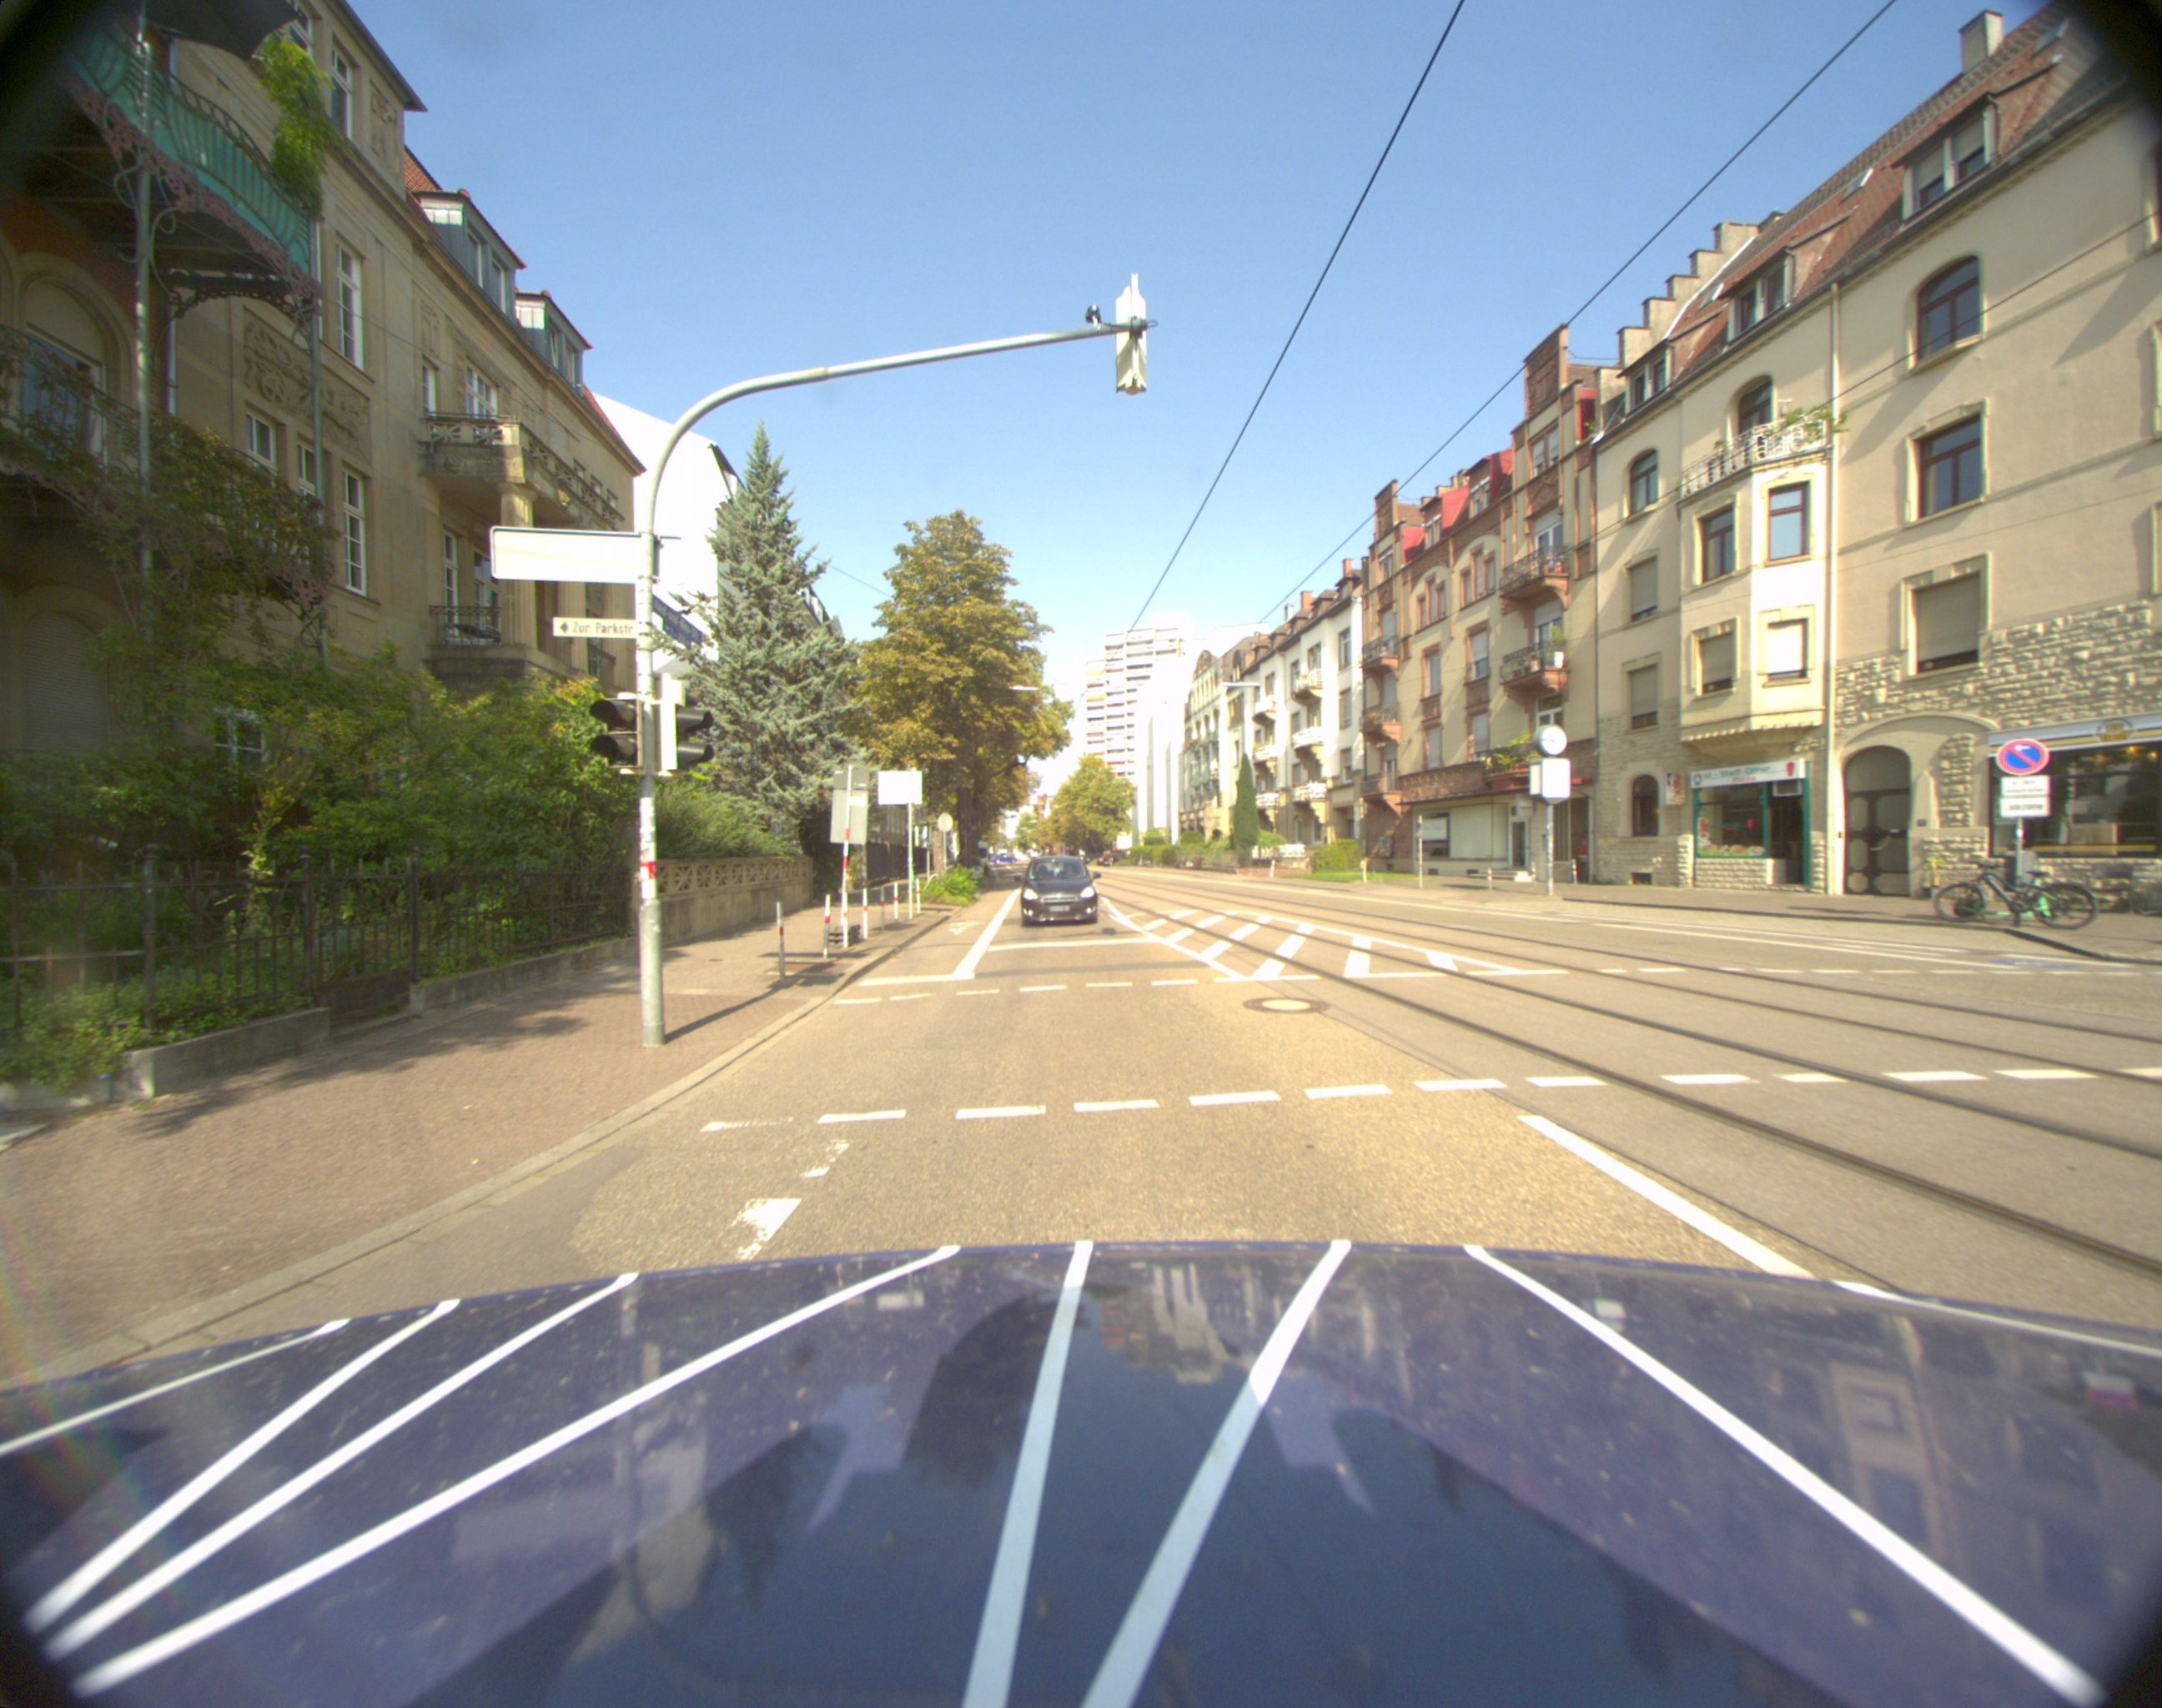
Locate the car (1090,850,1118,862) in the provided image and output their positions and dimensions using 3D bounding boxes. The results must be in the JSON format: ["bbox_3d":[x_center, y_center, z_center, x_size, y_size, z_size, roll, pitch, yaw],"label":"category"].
[{"bbox_3d":[3.115,0.311,101.274,1.767,1.518,4.008,0,0,35],"label":"car"}]

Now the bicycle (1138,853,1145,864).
[{"bbox_3d":[5.973,0.437,75.241,0.425,1.081,1.675,-1,0,-4],"label":"bicycle"}]

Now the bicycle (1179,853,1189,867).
[{"bbox_3d":[7.942,0.483,58.666,0.371,1.081,1.354,-1,0,-7],"label":"bicycle"}]

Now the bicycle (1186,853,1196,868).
[{"bbox_3d":[8.088,0.500,55.908,0.371,1.081,1.354,-1,0,-7],"label":"bicycle"}]

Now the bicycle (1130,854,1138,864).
[{"bbox_3d":[5.475,0.520,78.538,0.426,0.972,1.769,-1,0,-8],"label":"bicycle"}]

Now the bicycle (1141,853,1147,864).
[{"bbox_3d":[6.080,0.449,73.231,0.425,1.081,1.676,-1,0,2],"label":"bicycle"}]

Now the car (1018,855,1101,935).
[{"bbox_3d":[-0.581,0.822,17.417,1.611,1.515,4.355,-2,1,-4],"label":"car"}]

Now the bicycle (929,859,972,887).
[{"bbox_3d":[-5.701,0.855,33.386,0.503,1.160,1.846,8,4,43],"label":"bicycle"}]

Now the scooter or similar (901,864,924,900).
[{"bbox_3d":[-5.787,0.952,26.141,0.559,1.190,1.034,2,1,-1],"label":"scooter or similar"}]

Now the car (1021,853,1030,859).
[{"bbox_3d":[-13.721,0.405,187.250,1.878,1.446,4.541,2,0,-10],"label":"car"}]

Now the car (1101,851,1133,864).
[{"bbox_3d":[4.186,0.398,87.217,1.767,1.518,4.008,0,0,35],"label":"car"}]

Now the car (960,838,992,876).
[{"bbox_3d":[-7.227,0.175,52.746,2.052,2.484,6.224,0,0,-6],"label":"car"}]

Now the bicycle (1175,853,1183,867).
[{"bbox_3d":[7.790,0.485,60.430,0.371,1.081,1.354,-1,0,-7],"label":"bicycle"}]

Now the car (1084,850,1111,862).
[{"bbox_3d":[2.223,0.282,104.042,1.767,1.518,4.008,0,0,35],"label":"car"}]

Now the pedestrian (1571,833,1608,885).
[{"bbox_3d":[18.629,0.176,27.852,0.831,1.849,0.775,-1,1,-14],"label":"pedestrian"}]

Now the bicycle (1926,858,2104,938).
[{"bbox_3d":[15.641,0.692,12.803,0.455,1.219,1.854,-1,0,-16],"label":"bicycle"}]

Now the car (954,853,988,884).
[{"bbox_3d":[-5.914,0.746,41.095,1.612,1.515,4.354,2,0,-7],"label":"car"}]

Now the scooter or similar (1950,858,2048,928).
[{"bbox_3d":[16.157,0.674,13.398,1.031,1.190,0.367,0,1,38],"label":"scooter or similar"}]

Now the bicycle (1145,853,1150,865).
[{"bbox_3d":[6.323,0.462,72.445,0.425,1.081,1.676,-1,0,2],"label":"bicycle"}]

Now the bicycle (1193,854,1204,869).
[{"bbox_3d":[8.378,0.513,54.156,0.371,1.081,1.487,-1,0,-7],"label":"bicycle"}]

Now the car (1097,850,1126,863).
[{"bbox_3d":[3.776,0.334,93.840,1.767,1.518,4.008,0,0,35],"label":"car"}]

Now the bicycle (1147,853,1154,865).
[{"bbox_3d":[6.413,0.486,70.346,0.425,1.081,1.676,-1,0,-2],"label":"bicycle"}]

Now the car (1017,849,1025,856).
[{"bbox_3d":[-17.338,-0.542,219.564,2.000,2.002,4.855,-1,0,-10],"label":"car"}]

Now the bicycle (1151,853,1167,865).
[{"bbox_3d":[7.143,0.451,69.418,1.398,1.081,0.425,-1,1,-24],"label":"bicycle"}]
